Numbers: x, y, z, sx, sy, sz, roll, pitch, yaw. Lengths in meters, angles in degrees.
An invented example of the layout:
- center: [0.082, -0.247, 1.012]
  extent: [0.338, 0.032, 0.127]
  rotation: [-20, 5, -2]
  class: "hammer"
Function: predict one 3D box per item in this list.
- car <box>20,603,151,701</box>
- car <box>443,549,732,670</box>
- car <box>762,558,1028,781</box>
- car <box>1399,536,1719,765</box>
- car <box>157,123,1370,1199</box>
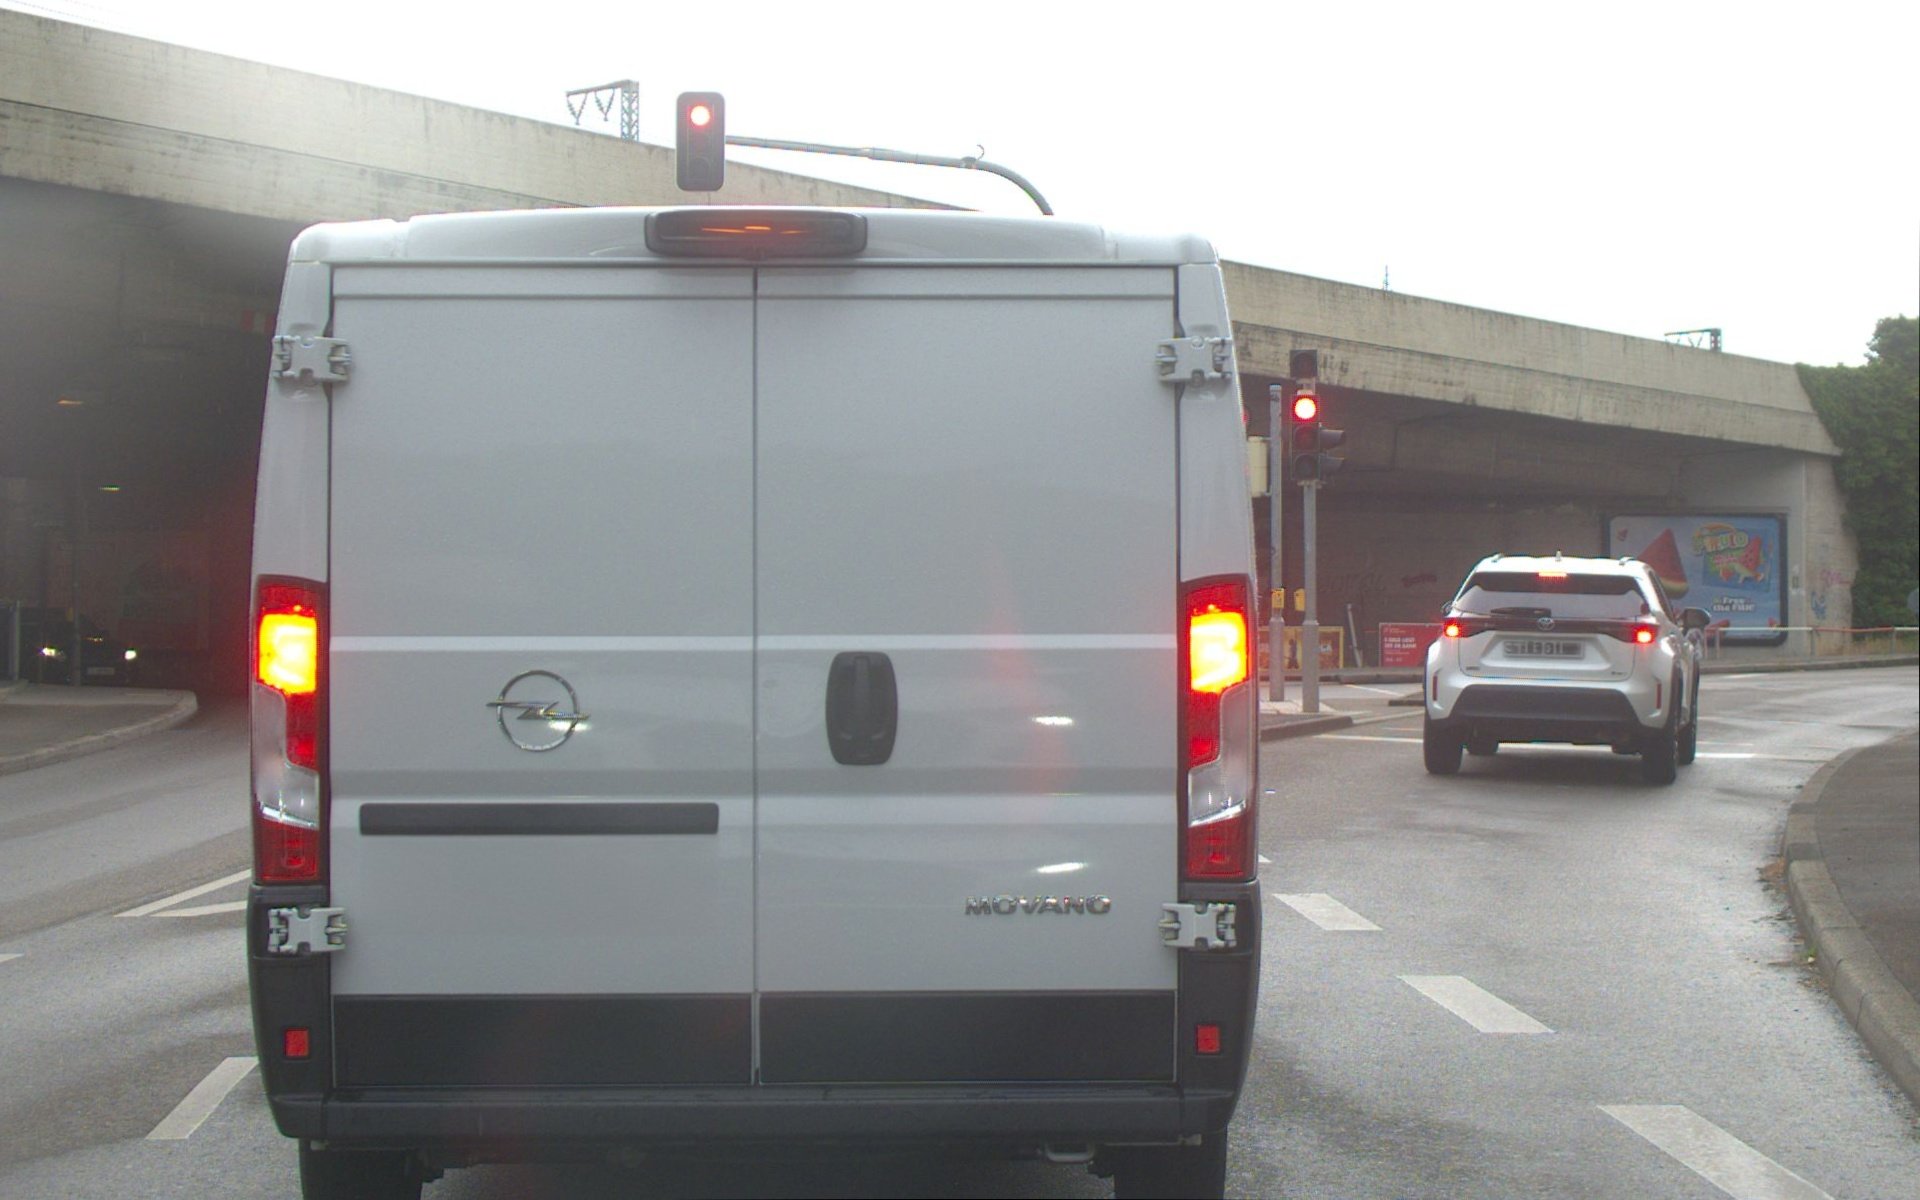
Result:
- center: [-15.459, 0.882, 60.637]
  extent: [1.914, 1.621, 4.436]
  rotation: [0, 0, -18]
  class: "car"
- center: [-4.920, 0.142, 45.028]
  extent: [1.994, 1.513, 3.999]
  rotation: [1, -1, -37]
  class: "car"
- center: [-0.469, 0.564, 28.801]
  extent: [1.994, 1.723, 3.999]
  rotation: [0, -1, 2]
  class: "car"
- center: [4.488, 0.363, 25.304]
  extent: [1.995, 1.544, 3.997]
  rotation: [0, -1, 15]
  class: "car"
- center: [-0.315, 0.222, 9.199]
  extent: [2.305, 2.335, 5.282]
  rotation: [0, 1, 2]
  class: "car"
